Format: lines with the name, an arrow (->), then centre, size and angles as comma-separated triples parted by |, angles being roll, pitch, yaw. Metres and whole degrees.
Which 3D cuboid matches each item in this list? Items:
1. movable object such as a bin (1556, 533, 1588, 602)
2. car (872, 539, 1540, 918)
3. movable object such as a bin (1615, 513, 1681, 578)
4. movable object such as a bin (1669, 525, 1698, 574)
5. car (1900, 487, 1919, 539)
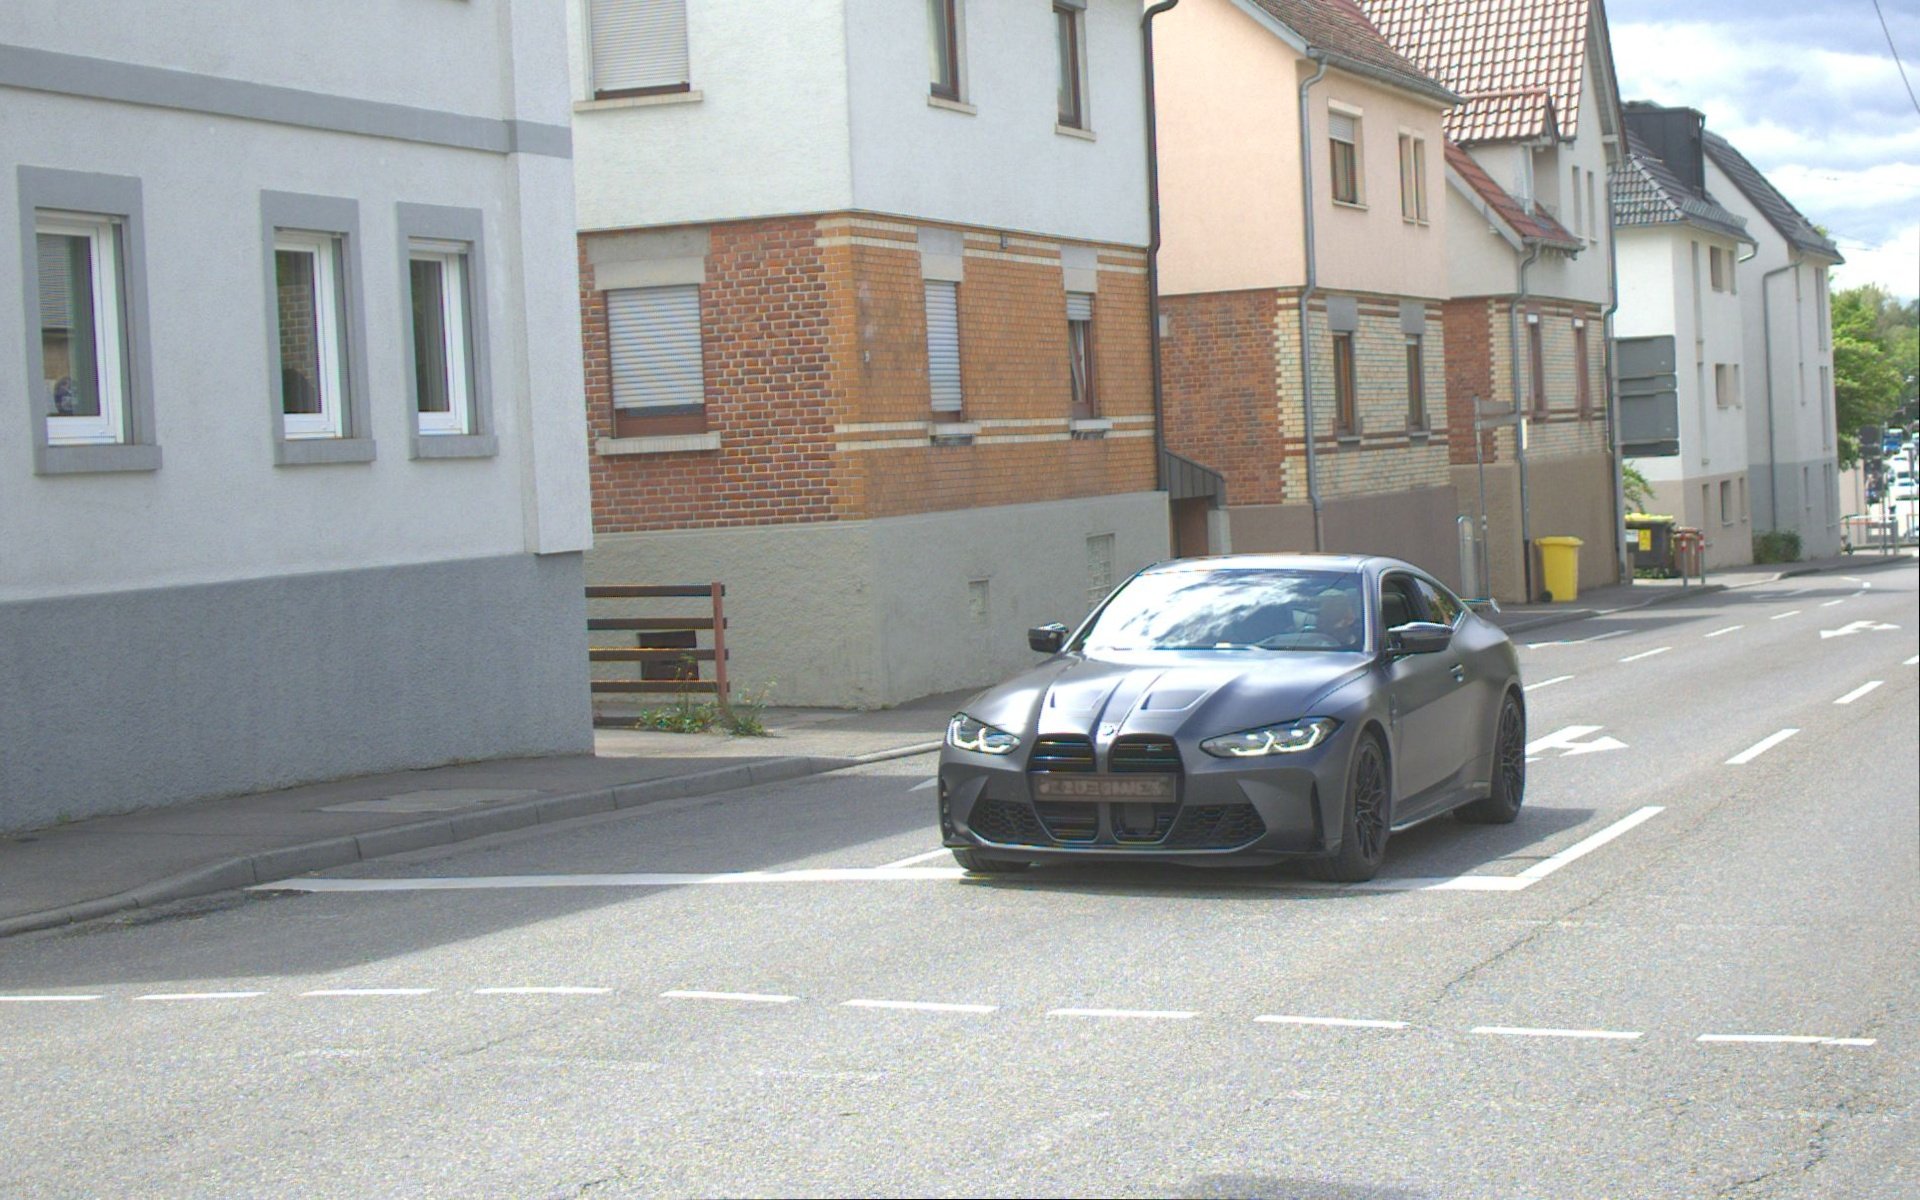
movable object such as a bin -> 10.180, -0.547, 57.187 | 0.431, 1.124, 0.299 | -3, 1, 19
car -> 1.351, 0.480, 16.369 | 1.995, 1.452, 4.613 | 0, 2, 20
movable object such as a bin -> 14.529, -1.152, 72.587 | 1.282, 1.305, 0.816 | -2, 1, 15
movable object such as a bin -> 15.461, -1.076, 73.460 | 0.532, 1.026, 0.454 | -2, 1, 19
car -> 38.109, -3.428, 134.881 | 1.994, 2.007, 3.998 | -2, 1, 11
